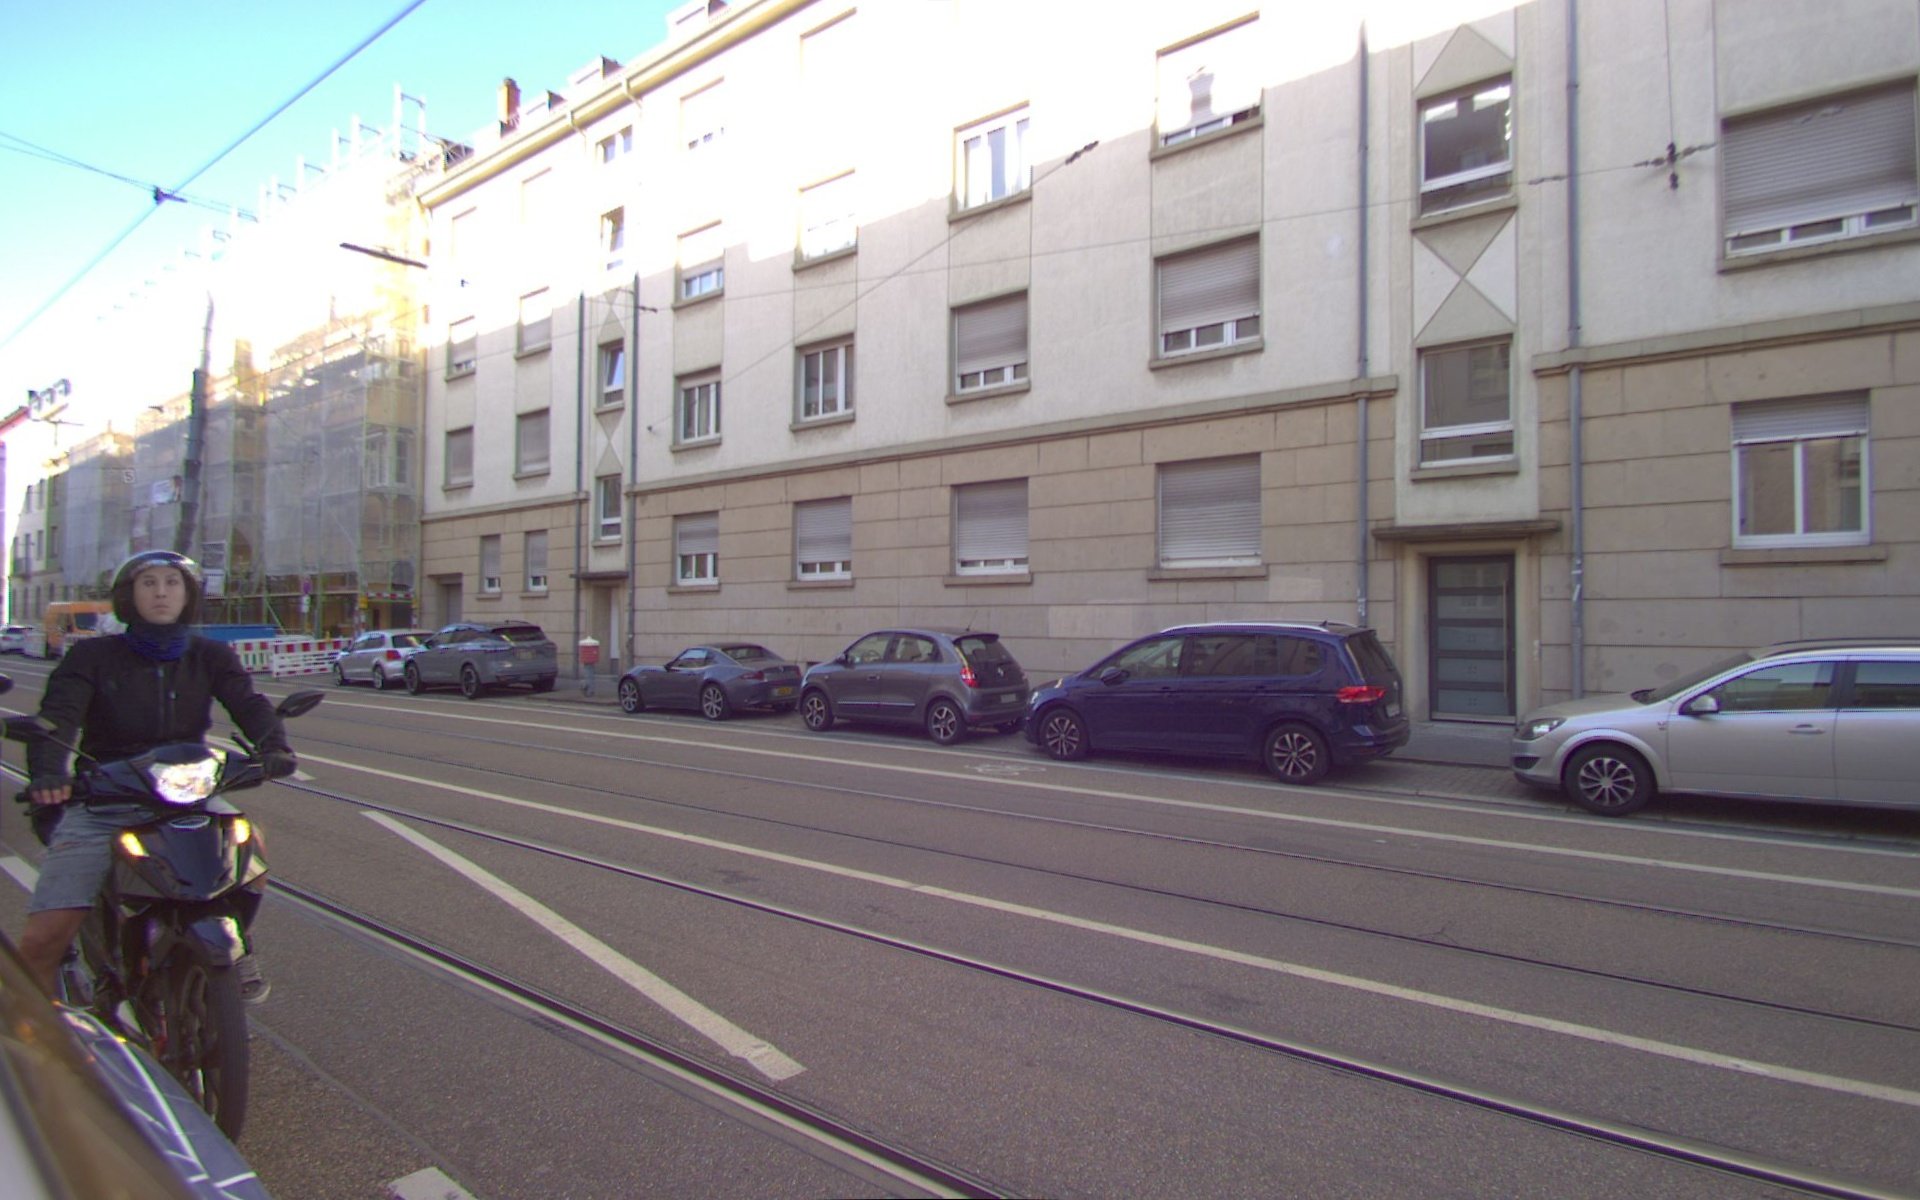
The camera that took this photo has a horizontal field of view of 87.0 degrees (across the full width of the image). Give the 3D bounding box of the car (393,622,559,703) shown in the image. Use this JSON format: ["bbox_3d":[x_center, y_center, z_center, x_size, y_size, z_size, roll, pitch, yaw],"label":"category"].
[{"bbox_3d":[-10.880,1.317,22.634,4.108,1.603,1.691,-1,0,38],"label":"car"}]

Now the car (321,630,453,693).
[{"bbox_3d":[-14.465,1.488,25.496,3.639,1.402,1.617,-1,0,37],"label":"car"}]

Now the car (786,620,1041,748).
[{"bbox_3d":[-0.732,1.113,14.717,3.493,1.584,1.650,-1,0,38],"label":"car"}]

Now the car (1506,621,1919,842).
[{"bbox_3d":[7.221,0.987,8.533,4.358,1.571,1.975,-1,0,38],"label":"car"}]

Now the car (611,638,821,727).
[{"bbox_3d":[-4.268,1.347,17.532,3.483,1.286,1.730,-1,0,37],"label":"car"}]

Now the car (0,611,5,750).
[{"bbox_3d":[-8.059,0.846,6.989,3.997,1.515,1.670,-1,-3,40],"label":"car"}]

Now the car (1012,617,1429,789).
[{"bbox_3d":[2.909,1.016,11.708,4.285,1.597,1.887,-1,0,37],"label":"car"}]

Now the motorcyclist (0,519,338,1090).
[{"bbox_3d":[-2.536,0.541,3.174,0.598,1.516,0.851,-1,0,41],"label":"motorcyclist"}]

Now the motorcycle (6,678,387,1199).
[{"bbox_3d":[-2.410,0.909,3.080,1.980,1.228,0.532,-1,0,41],"label":"motorcycle"}]
